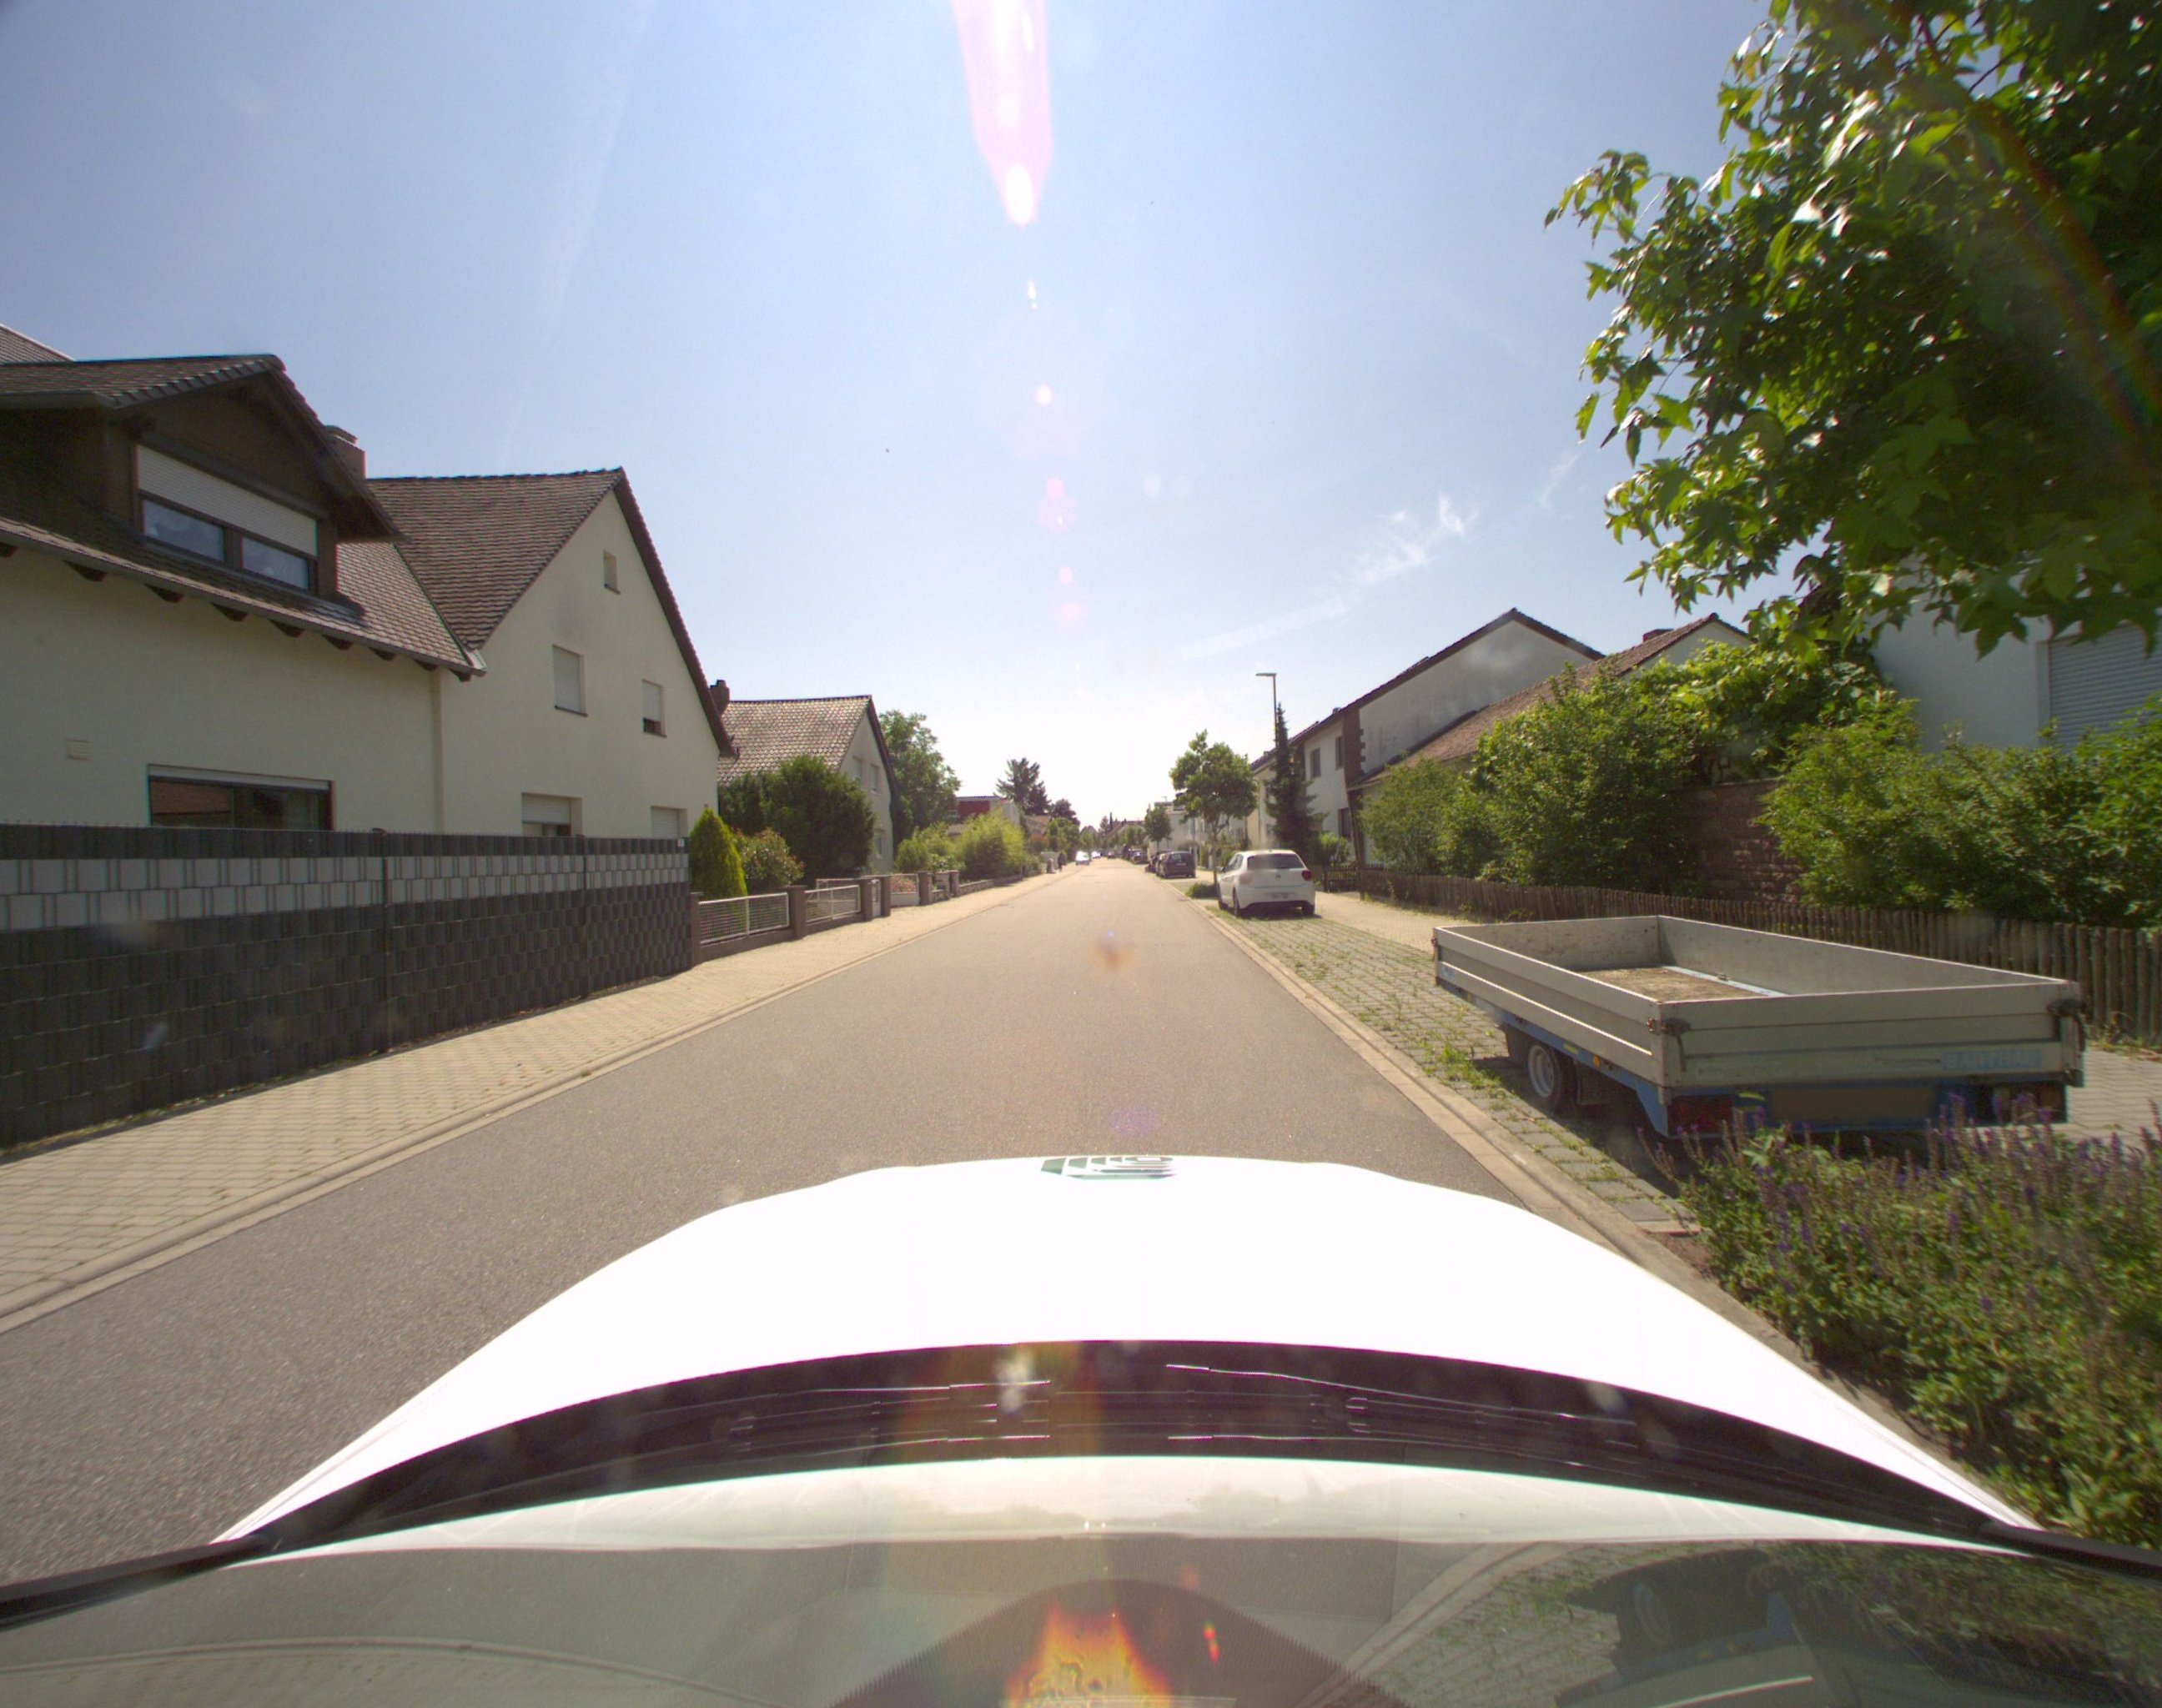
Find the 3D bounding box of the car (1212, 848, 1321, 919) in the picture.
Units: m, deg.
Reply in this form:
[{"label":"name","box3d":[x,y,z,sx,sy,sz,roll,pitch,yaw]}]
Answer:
[{"label":"car","box3d":[4.214,0.612,19.035,1.807,1.420,3.871,-2,0,3]}]

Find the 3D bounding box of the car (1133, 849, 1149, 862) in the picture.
[{"label":"car","box3d":[7.698,0.235,105.063,1.767,1.595,4.278,-2,0,0]}]

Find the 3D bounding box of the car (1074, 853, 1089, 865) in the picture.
[{"label":"car","box3d":[0.100,0.664,113.666,1.845,1.488,4.387,-2,0,2]}]

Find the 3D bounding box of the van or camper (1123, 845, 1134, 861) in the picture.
[{"label":"van or camper","box3d":[9.327,-0.180,160.831,1.986,2.941,4.002,-2,0,2]}]

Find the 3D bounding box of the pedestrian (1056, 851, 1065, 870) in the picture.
[{"label":"pedestrian","box3d":[-1.897,0.570,74.327,0.711,1.747,0.961,-1,0,2]}]

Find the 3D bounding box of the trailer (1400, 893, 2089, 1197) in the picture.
[{"label":"trailer","box3d":[3.271,0.860,4.790,1.780,1.058,2.902,-2,0,4]}]

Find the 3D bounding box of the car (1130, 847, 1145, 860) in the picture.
[{"label":"car","box3d":[8.459,-0.113,121.703,2.091,1.882,4.846,-2,0,3]}]

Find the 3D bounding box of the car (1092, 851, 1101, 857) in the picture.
[{"label":"car","box3d":[3.862,-0.064,200.434,1.845,1.478,4.705,-2,0,4]}]

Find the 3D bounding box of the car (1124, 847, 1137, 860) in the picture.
[{"label":"car","box3d":[8.191,-0.110,136.377,1.986,1.947,5.217,-3,0,2]}]

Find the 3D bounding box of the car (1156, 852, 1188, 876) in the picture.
[{"label":"car","box3d":[5.806,0.620,52.352,1.807,1.420,4.096,-2,0,3]}]

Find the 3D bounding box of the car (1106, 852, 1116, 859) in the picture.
[{"label":"car","box3d":[6.249,0.271,168.846,1.985,1.430,4.004,-1,0,4]}]

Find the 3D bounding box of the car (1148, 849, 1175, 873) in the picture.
[{"label":"car","box3d":[6.040,0.484,61.647,1.807,1.656,4.568,-2,1,3]}]

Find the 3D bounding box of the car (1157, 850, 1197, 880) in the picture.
[{"label":"car","box3d":[5.430,0.603,46.563,1.736,1.533,4.448,-2,0,0]}]
